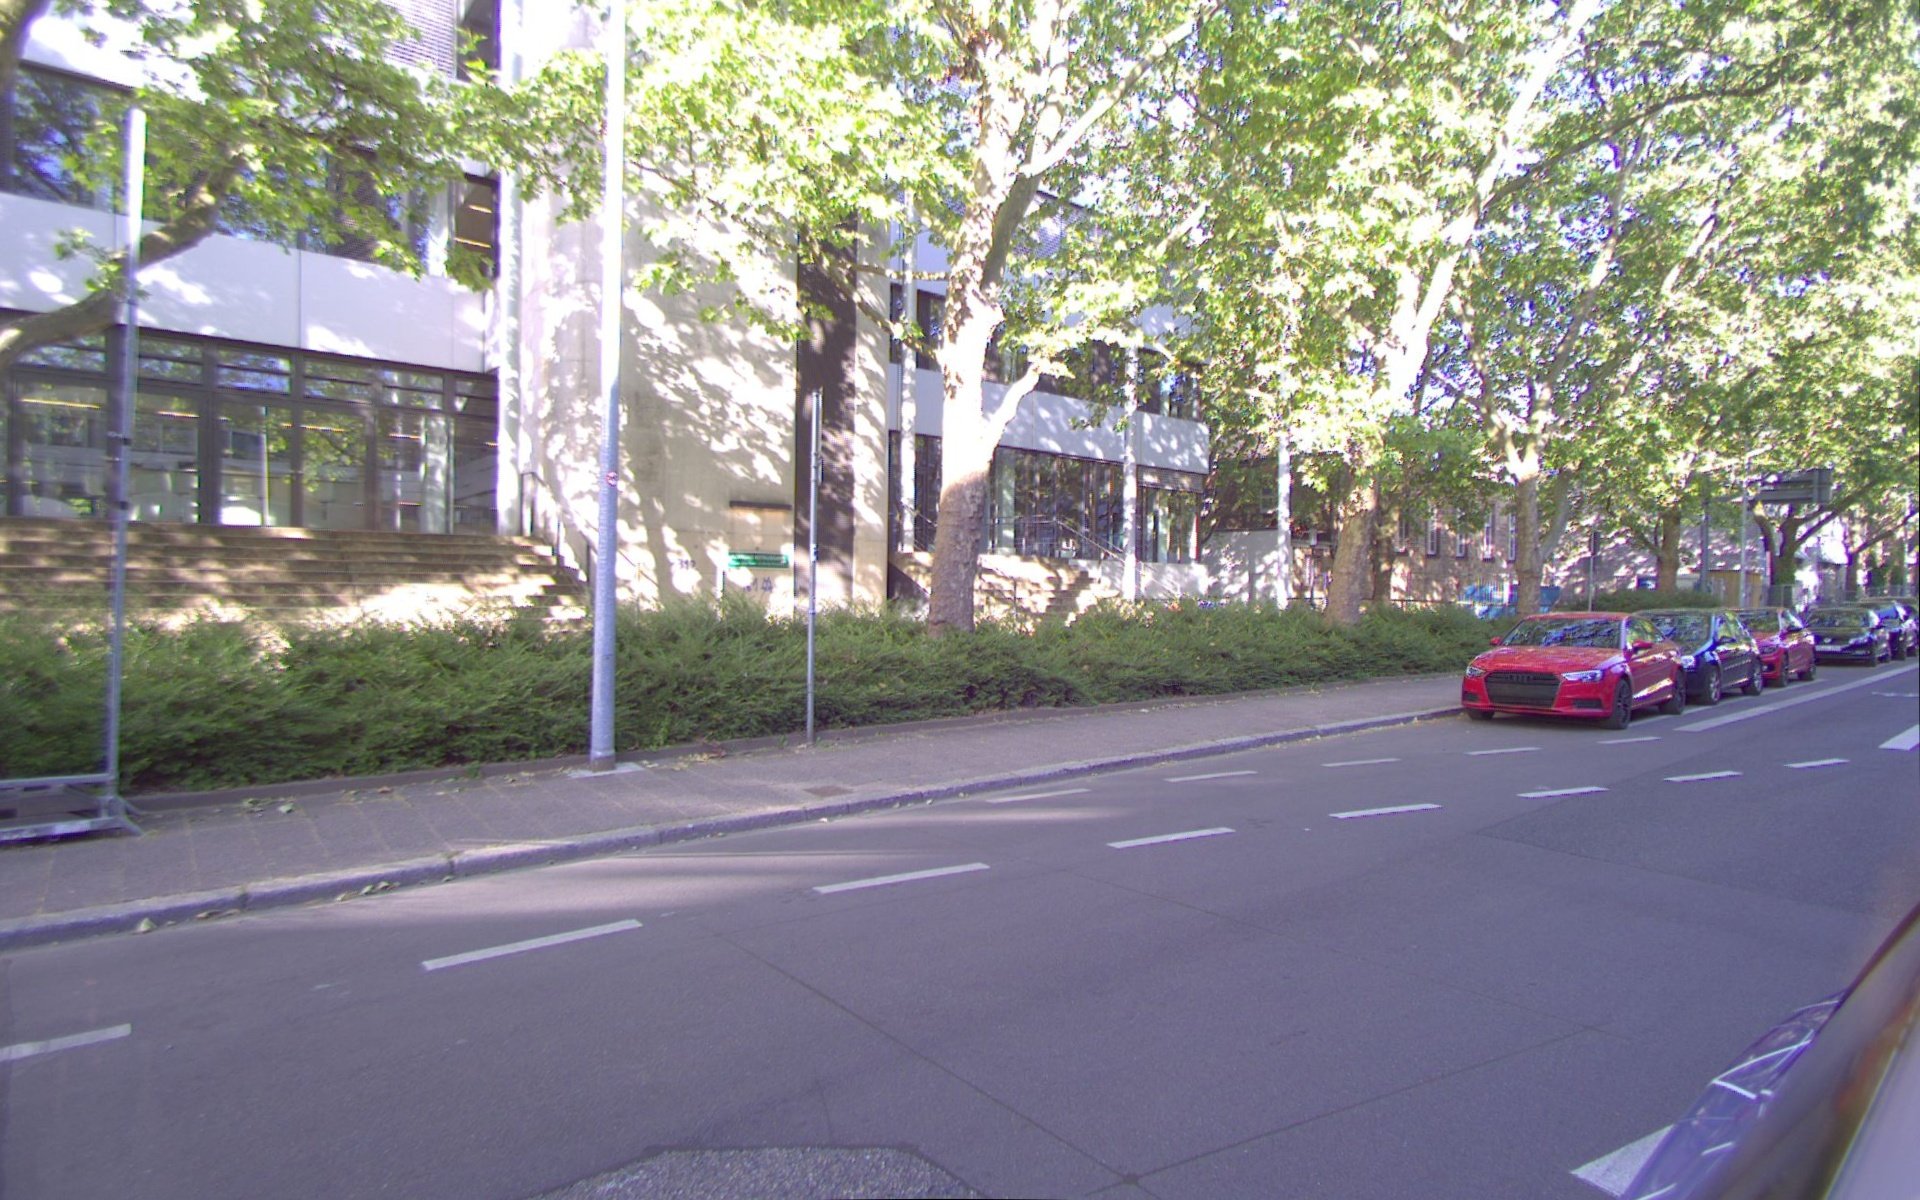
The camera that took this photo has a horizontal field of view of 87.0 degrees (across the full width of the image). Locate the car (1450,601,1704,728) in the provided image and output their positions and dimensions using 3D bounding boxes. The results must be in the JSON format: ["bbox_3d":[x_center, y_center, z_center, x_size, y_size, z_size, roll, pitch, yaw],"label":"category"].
[{"bbox_3d":[8.277,0.746,13.452,3.930,1.427,1.753,0,-1,-41],"label":"car"}]

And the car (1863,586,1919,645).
[{"bbox_3d":[30.973,0.483,32.976,4.370,1.843,1.753,0,-1,-41],"label":"car"}]

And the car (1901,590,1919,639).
[{"bbox_3d":[36.196,0.513,37.272,4.370,1.750,1.753,0,-1,-41],"label":"car"}]

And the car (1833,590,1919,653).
[{"bbox_3d":[26.716,0.583,29.185,4.101,1.674,1.753,0,-1,-41],"label":"car"}]

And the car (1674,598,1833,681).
[{"bbox_3d":[15.704,0.719,19.974,3.841,1.486,1.753,0,-1,-41],"label":"car"}]

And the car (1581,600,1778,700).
[{"bbox_3d":[11.852,0.737,16.597,3.841,1.451,1.753,0,-1,-41],"label":"car"}]

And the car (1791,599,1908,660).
[{"bbox_3d":[22.949,0.714,26.073,3.841,1.451,1.753,0,-1,-41],"label":"car"}]
